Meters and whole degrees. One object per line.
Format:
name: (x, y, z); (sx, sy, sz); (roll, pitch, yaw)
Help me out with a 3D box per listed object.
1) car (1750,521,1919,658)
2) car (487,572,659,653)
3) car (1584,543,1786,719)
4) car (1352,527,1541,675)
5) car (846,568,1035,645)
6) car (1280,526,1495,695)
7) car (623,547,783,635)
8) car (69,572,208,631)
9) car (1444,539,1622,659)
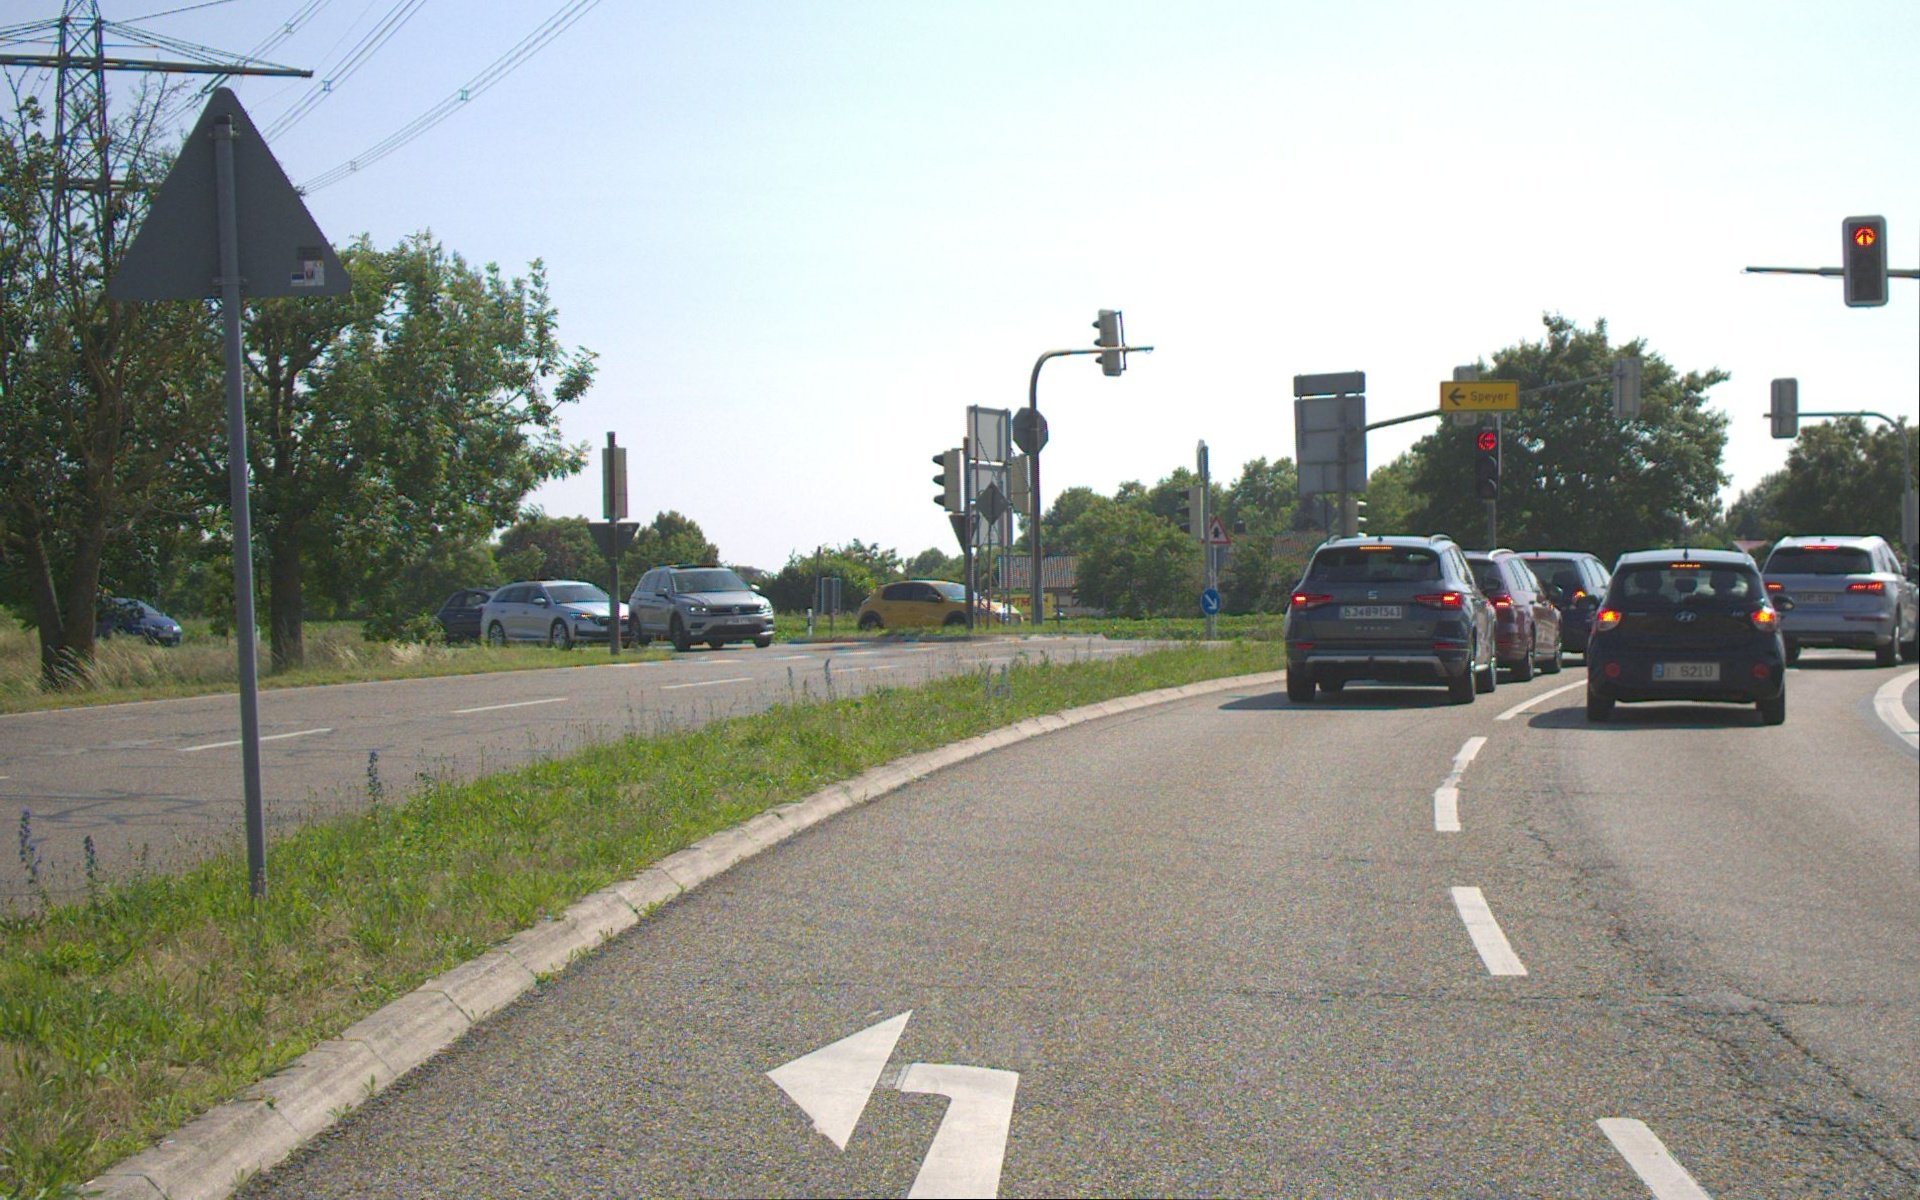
car: (11.376, -0.145, 44.429); (1.635, 1.671, 3.745); (1, 1, 23)
car: (-8.121, 0.249, 71.976); (1.815, 1.645, 3.999); (0, 0, -36)
car: (6.394, 0.234, 30.283); (1.634, 1.443, 3.293); (1, 1, 12)
car: (5.560, -0.001, 39.008); (1.743, 1.563, 3.622); (1, 1, 14)
car: (-0.449, 0.142, 76.161); (3.996, 1.645, 1.816); (0, 0, 41)
car: (4.254, 0.079, 33.827); (1.743, 1.563, 3.622); (0, 1, 13)
car: (-4.969, -0.173, 66.042); (1.814, 1.645, 4.001); (0, 0, -24)
car: (-23.197, 0.044, 96.994); (3.996, 1.645, 1.816); (0, 0, 41)
car: (7.552, -0.024, 45.076); (1.743, 1.479, 3.621); (1, 1, 18)
